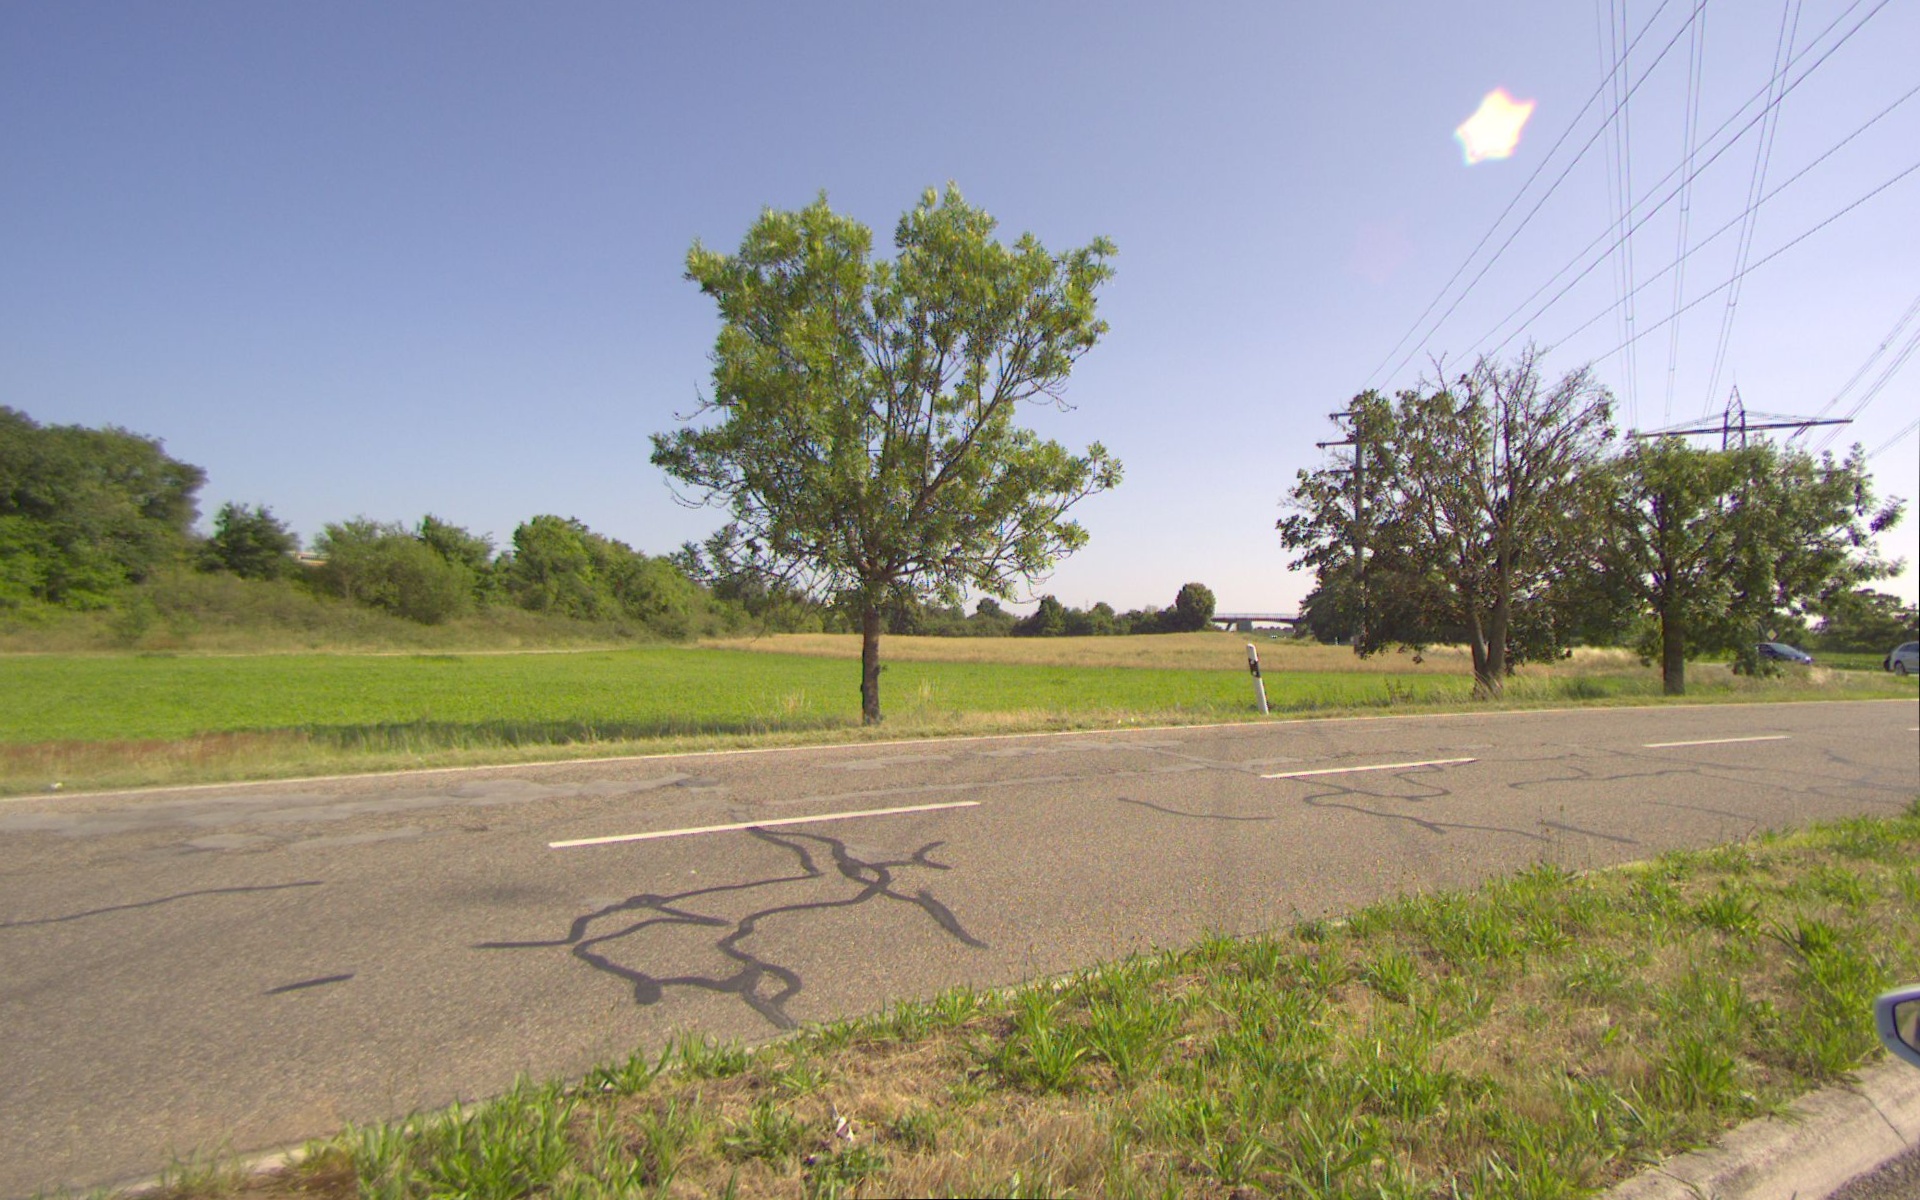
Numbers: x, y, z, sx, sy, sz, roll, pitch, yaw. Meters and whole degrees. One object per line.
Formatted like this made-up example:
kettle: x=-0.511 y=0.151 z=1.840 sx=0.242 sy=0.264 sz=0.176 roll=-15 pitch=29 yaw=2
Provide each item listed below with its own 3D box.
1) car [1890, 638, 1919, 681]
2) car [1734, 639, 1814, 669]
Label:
car: x=39.191 y=2.387 z=39.824 sx=1.784 sy=1.673 sz=4.002 roll=1 pitch=-2 yaw=16
car: x=49.022 y=3.252 z=60.606 sx=1.783 sy=1.673 sz=4.002 roll=1 pitch=-1 yaw=5
